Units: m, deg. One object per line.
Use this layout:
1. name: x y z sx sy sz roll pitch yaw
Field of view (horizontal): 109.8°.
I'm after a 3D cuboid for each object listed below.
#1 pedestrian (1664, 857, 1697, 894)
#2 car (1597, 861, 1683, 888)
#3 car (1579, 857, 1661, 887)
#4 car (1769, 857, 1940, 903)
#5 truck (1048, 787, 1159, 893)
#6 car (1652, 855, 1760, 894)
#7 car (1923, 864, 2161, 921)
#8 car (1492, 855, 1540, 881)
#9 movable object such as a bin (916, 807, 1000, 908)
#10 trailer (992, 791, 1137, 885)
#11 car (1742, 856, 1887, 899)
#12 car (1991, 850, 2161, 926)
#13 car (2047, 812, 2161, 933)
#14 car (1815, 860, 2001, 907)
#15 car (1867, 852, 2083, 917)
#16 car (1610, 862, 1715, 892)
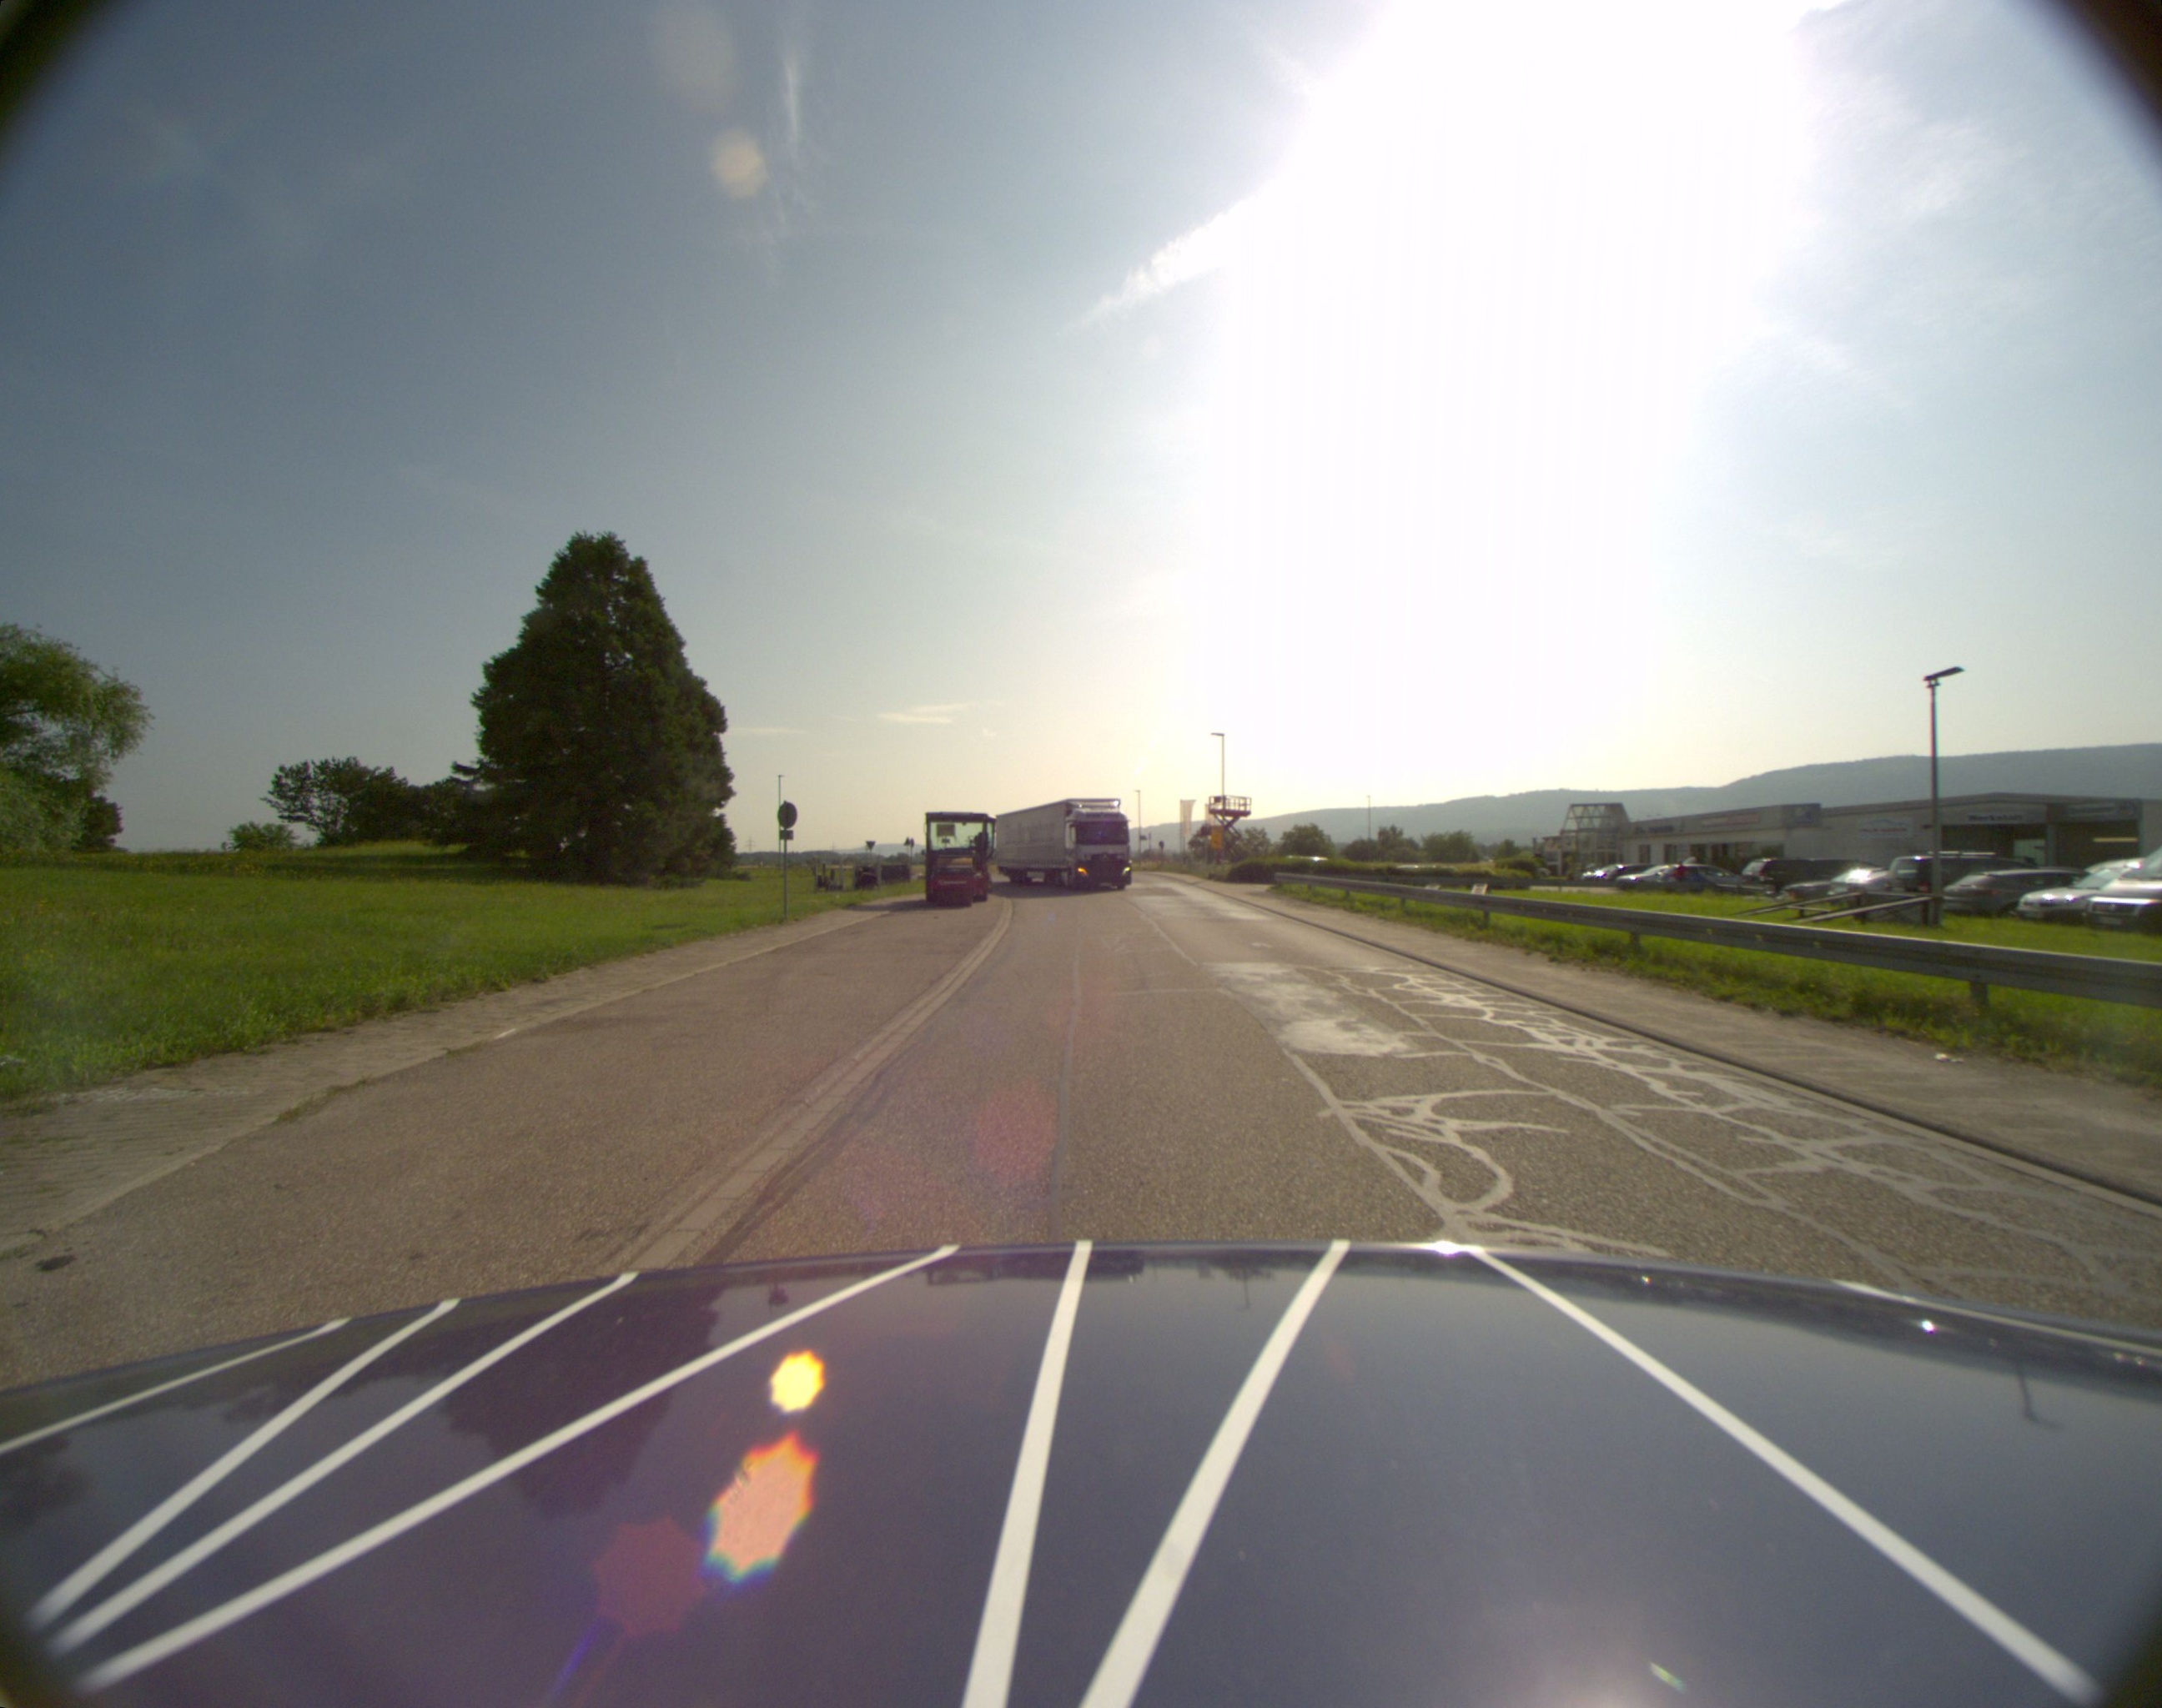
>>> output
1. pedestrian: 29.589 1.045 37.485 0.841 1.744 0.991 -3 2 -29
2. car: 32.830 1.162 44.701 3.659 1.455 1.766 1 0 16
3. car: 35.250 1.146 49.795 4.087 1.861 1.820 1 0 24
4. car: 27.521 0.879 27.163 3.993 1.512 1.686 1 0 13
5. truck: 0.820 -0.614 33.958 3.399 4.183 6.091 -3 1 -13
6. car: 31.783 1.019 38.734 3.767 1.785 1.935 -2 1 14
7. car: 24.932 0.961 19.695 3.750 1.301 1.809 1 0 15
8. car: 34.894 1.060 61.019 1.997 2.002 4.160 1 0 9
9. movable object such as a bin: -3.996 0.112 25.636 2.435 2.994 5.750 1 0 -6
10. trailer: -1.474 -0.751 41.526 3.503 4.183 14.209 -3 1 -19
11. car: 28.280 0.874 29.429 3.681 1.512 1.686 1 0 13
12. car: 24.476 0.778 17.366 4.393 1.653 1.810 1 -1 20
13. car: 23.771 0.419 15.011 5.394 2.358 2.298 1 -1 20
14. car: 26.782 0.924 24.755 3.750 1.381 1.731 1 0 15
15. car: 26.113 0.848 22.357 3.750 1.741 1.751 1 0 15
16. car: 31.748 1.227 41.598 4.149 1.527 1.885 1 0 13
